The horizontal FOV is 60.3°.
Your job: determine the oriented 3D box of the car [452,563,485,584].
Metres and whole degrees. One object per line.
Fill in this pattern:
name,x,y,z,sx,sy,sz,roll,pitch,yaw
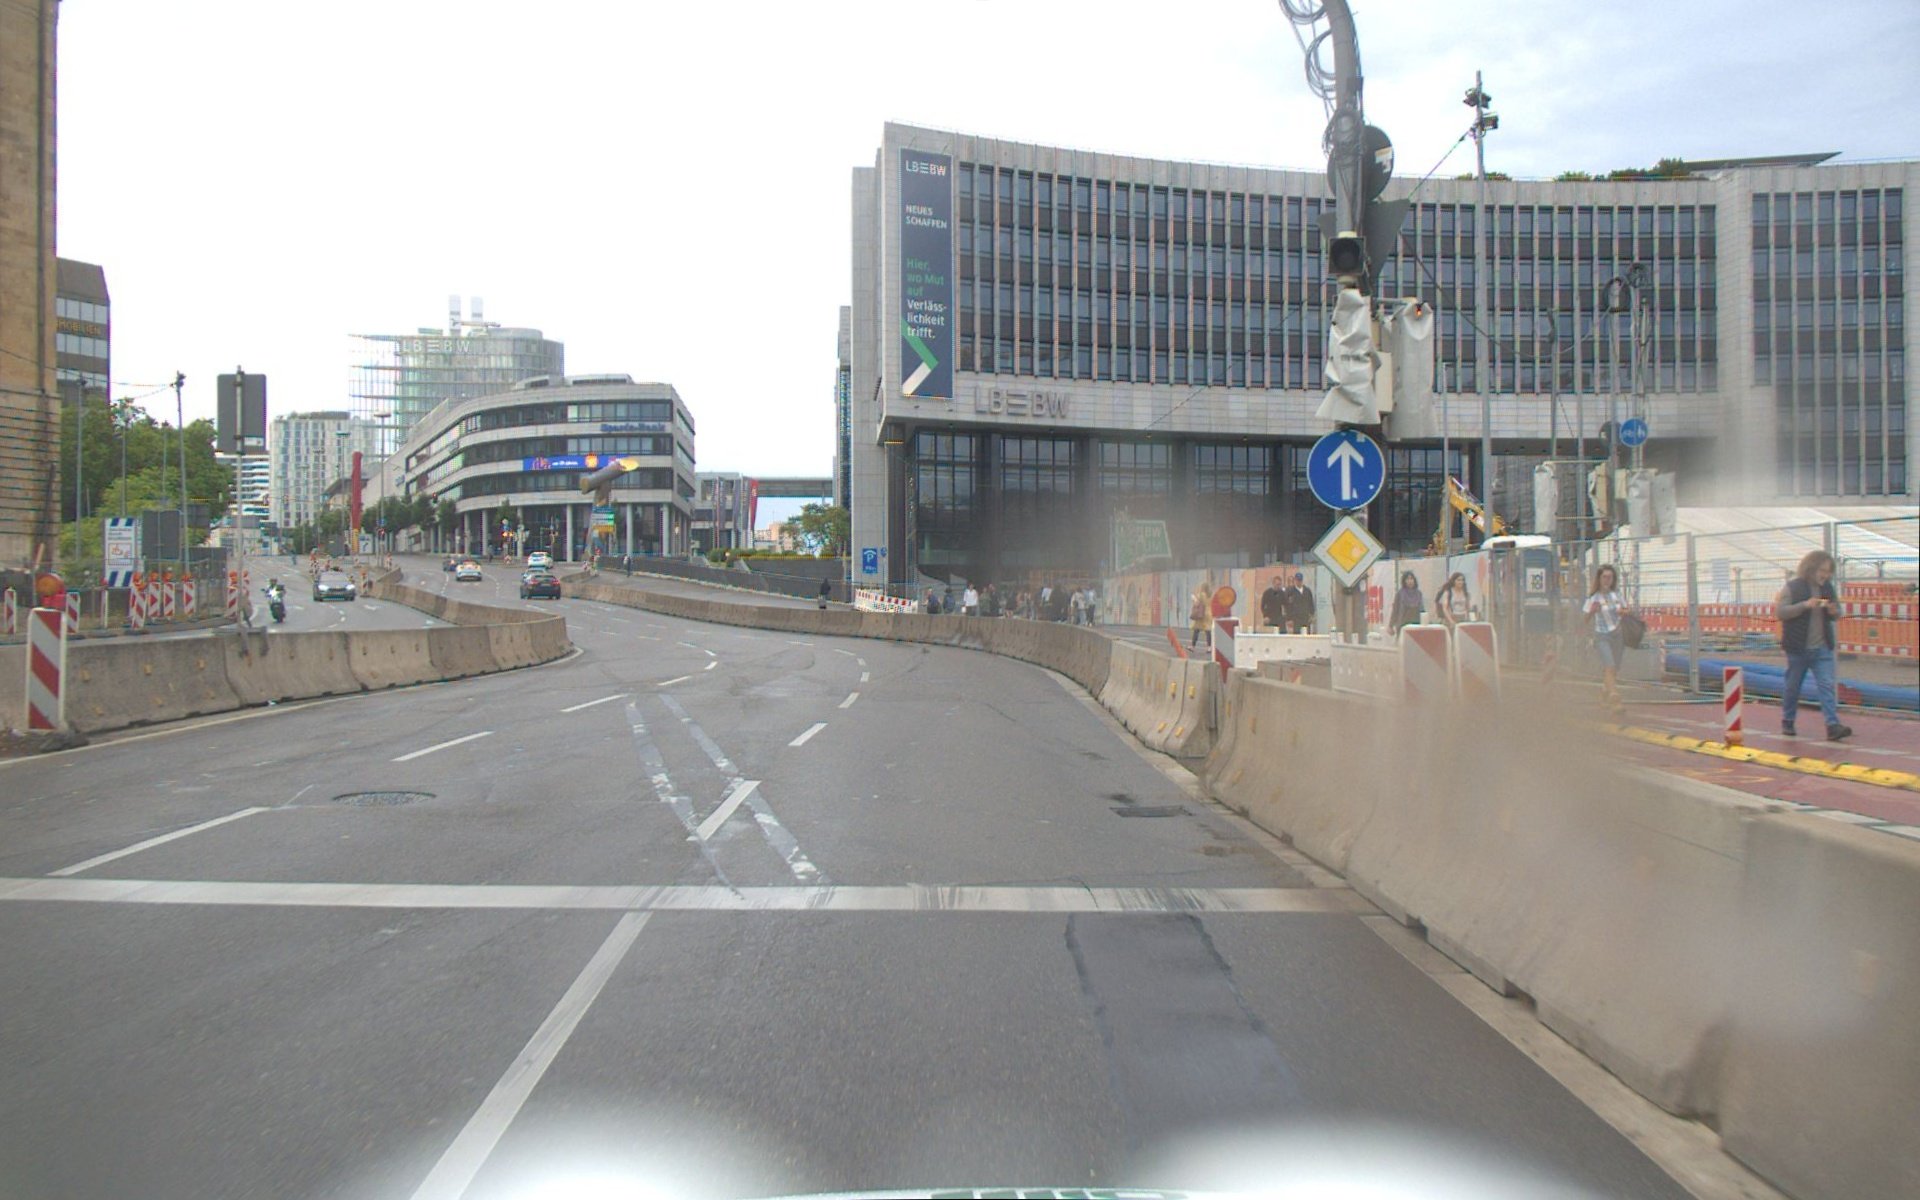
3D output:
car,-36.694,-1.962,123.409,1.720,1.532,3.721,0,0,-27

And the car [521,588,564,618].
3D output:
car,-22.903,0.189,90.635,1.653,1.535,3.715,1,-3,-25

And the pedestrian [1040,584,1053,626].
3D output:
pedestrian,3.767,0.216,72.103,0.518,1.850,0.536,0,0,-2

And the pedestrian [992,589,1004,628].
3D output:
pedestrian,1.673,0.373,72.727,0.439,1.734,0.646,0,0,-6

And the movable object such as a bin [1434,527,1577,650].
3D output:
movable object such as a bin,18.904,-0.365,57.449,3.047,4.100,3.668,0,0,-24

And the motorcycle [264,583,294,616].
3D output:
motorcycle,-24.775,-0.024,60.223,0.855,1.168,2.143,0,0,-18

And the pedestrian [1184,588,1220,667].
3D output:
pedestrian,5.843,0.654,39.990,0.718,1.886,0.831,0,0,-3

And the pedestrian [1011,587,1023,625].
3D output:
pedestrian,2.582,0.261,74.908,0.438,1.734,0.647,0,0,7

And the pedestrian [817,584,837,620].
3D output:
pedestrian,-6.837,0.114,84.822,0.746,1.821,1.050,0,0,-22

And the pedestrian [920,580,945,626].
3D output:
pedestrian,-0.994,0.110,60.151,0.738,1.670,0.820,0,0,-14

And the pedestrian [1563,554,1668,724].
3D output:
pedestrian,7.479,0.436,18.909,0.764,1.894,0.948,0,0,-5

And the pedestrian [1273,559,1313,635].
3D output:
pedestrian,8.399,-0.070,41.788,0.764,1.894,0.810,-1,0,-5

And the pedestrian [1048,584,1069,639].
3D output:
pedestrian,3.761,0.429,62.985,0.767,2.049,0.863,0,0,5

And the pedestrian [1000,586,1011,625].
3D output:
pedestrian,2.071,0.252,74.948,0.438,1.734,0.647,0,0,7

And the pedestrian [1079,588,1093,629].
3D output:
pedestrian,5.314,0.355,69.653,0.490,1.734,0.732,0,0,-3

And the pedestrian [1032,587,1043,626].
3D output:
pedestrian,3.522,0.278,74.690,0.438,1.734,0.647,0,0,7

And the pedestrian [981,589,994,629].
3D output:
pedestrian,1.206,0.403,72.652,0.444,1.734,0.646,0,0,-6

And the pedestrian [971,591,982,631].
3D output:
pedestrian,0.723,0.467,72.562,0.439,1.734,0.646,0,0,-6

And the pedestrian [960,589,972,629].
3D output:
pedestrian,0.262,0.394,72.516,0.439,1.734,0.646,0,0,-6

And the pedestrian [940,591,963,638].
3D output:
pedestrian,-0.306,0.522,60.342,0.647,1.670,0.820,0,0,-14

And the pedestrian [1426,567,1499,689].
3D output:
pedestrian,7.931,0.435,26.154,0.764,1.894,1.057,0,0,-5

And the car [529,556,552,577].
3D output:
car,-36.884,-2.908,145.404,1.961,1.835,4.248,0,1,-15

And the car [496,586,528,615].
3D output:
car,-29.785,0.032,109.998,1.714,1.908,3.754,0,0,-20

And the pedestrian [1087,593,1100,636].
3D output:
pedestrian,5.476,0.598,67.667,0.439,1.734,0.646,0,0,-3

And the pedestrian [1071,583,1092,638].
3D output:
pedestrian,4.627,0.392,62.846,0.767,2.049,0.863,0,0,5

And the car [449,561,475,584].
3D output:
car,-42.386,-2.337,140.863,1.961,1.835,4.248,0,1,-15

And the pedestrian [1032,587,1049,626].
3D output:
pedestrian,3.586,0.293,73.475,0.507,1.734,0.567,0,1,-39

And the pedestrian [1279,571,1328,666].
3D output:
pedestrian,6.951,0.364,33.526,0.764,1.894,0.810,0,0,-5

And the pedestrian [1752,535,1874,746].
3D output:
pedestrian,7.875,0.363,15.300,0.676,1.894,0.810,0,0,-5

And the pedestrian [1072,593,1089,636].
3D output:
pedestrian,4.915,0.594,67.714,0.613,1.734,0.646,0,0,-3

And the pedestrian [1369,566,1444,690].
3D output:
pedestrian,6.941,0.424,25.728,0.853,1.894,0.948,0,0,-5

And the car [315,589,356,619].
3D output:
car,-32.150,0.225,85.148,1.582,1.376,3.721,1,-3,-27

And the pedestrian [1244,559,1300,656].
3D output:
pedestrian,6.148,0.143,32.620,0.803,1.859,1.110,-1,0,-4

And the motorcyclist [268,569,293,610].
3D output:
motorcyclist,-24.796,-0.382,60.390,0.786,1.476,0.821,0,0,-19

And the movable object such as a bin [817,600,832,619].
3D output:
movable object such as a bin,-6.902,0.494,84.274,0.590,0.950,0.737,1,-1,-23

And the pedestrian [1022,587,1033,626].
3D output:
pedestrian,3.063,0.277,74.811,0.438,1.734,0.647,0,0,7
